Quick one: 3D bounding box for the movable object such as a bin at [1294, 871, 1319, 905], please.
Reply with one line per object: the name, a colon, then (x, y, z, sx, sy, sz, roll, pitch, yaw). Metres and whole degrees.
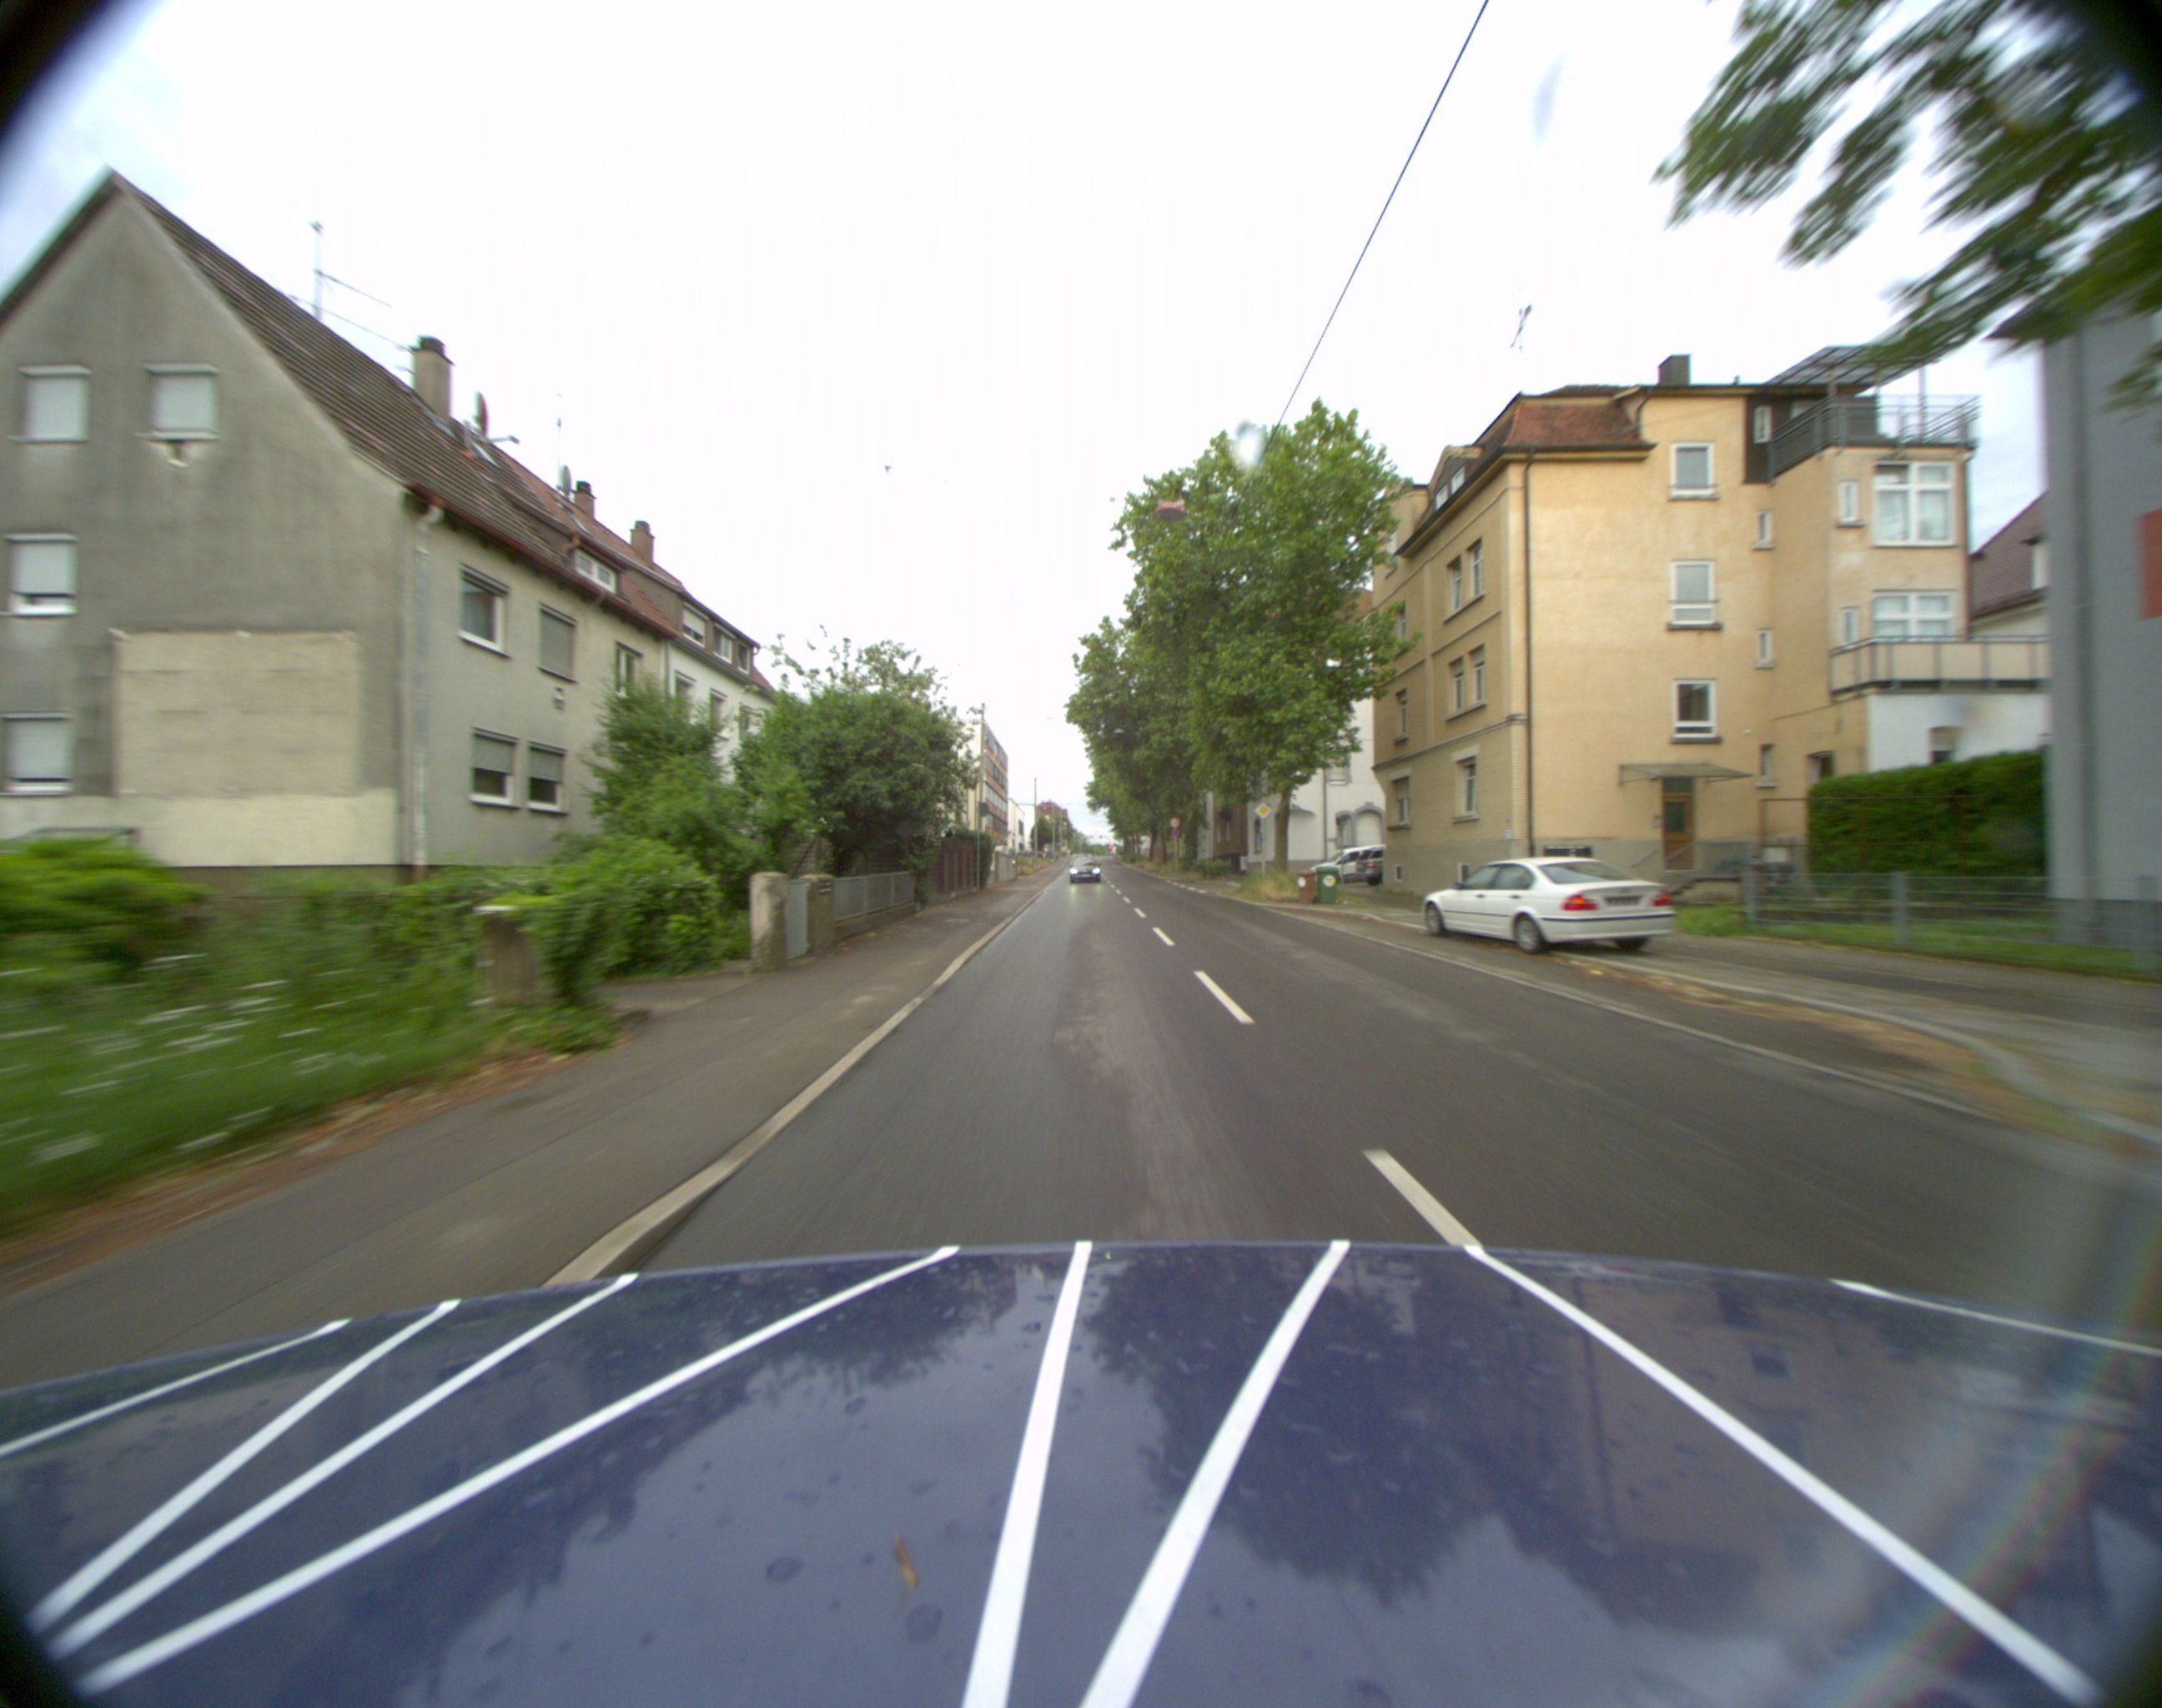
movable object such as a bin: (6.287, 0.950, 21.218, 0.513, 0.922, 0.581, 0, 1, 0)

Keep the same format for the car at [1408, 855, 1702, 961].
car: (7.267, 0.715, 12.332, 1.760, 1.318, 4.537, -2, 0, -3)

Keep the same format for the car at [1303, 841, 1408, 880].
car: (14.280, 0.327, 39.743, 4.682, 1.768, 2.020, -3, 1, 0)

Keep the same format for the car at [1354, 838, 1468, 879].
car: (14.527, 0.189, 33.628, 4.124, 1.602, 2.043, -2, 1, 4)

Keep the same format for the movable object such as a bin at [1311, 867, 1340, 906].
movable object such as a bin: (6.850, 0.890, 21.299, 0.536, 1.051, 0.762, 0, 1, 0)

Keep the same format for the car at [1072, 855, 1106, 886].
car: (0.432, 0.941, 45.236, 1.949, 1.644, 3.858, -1, 1, -1)
